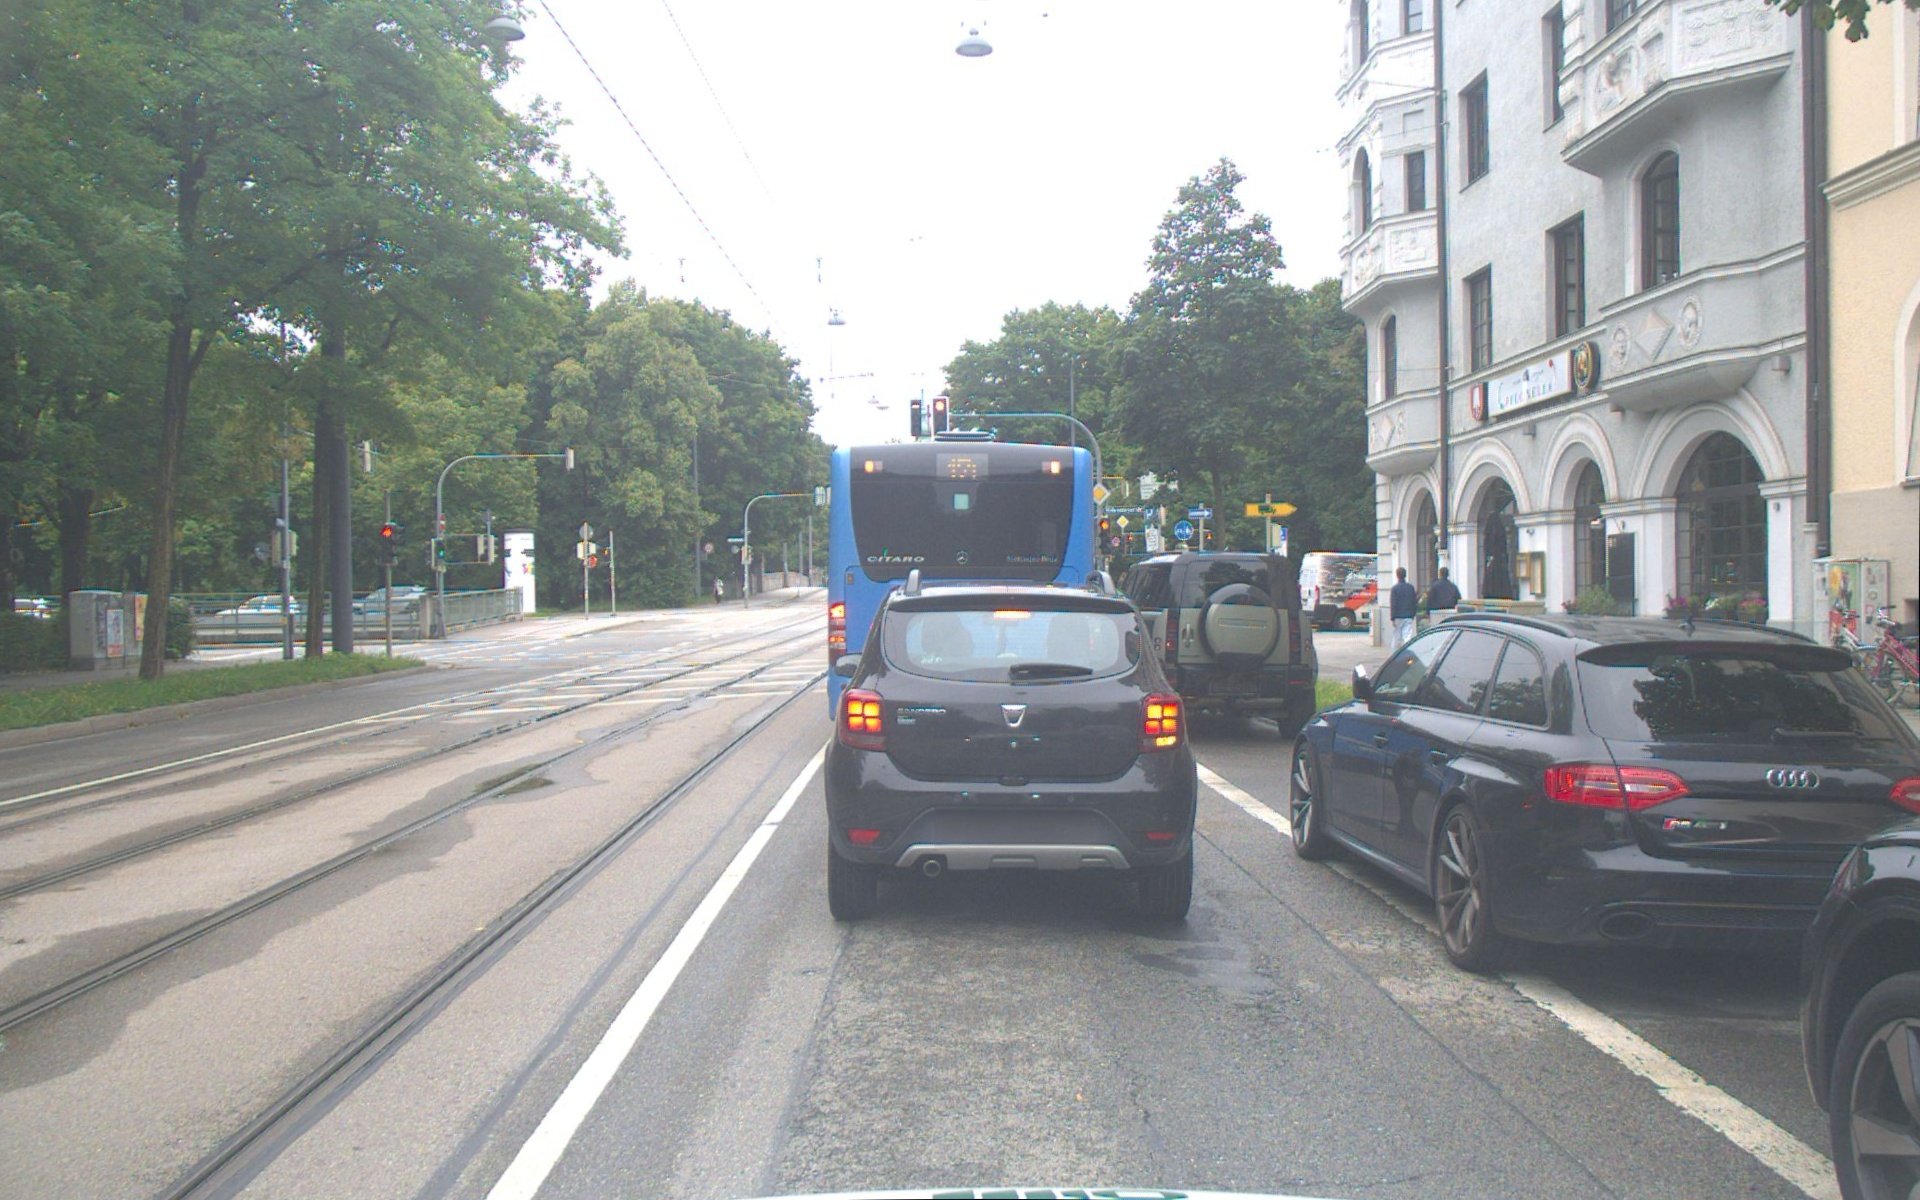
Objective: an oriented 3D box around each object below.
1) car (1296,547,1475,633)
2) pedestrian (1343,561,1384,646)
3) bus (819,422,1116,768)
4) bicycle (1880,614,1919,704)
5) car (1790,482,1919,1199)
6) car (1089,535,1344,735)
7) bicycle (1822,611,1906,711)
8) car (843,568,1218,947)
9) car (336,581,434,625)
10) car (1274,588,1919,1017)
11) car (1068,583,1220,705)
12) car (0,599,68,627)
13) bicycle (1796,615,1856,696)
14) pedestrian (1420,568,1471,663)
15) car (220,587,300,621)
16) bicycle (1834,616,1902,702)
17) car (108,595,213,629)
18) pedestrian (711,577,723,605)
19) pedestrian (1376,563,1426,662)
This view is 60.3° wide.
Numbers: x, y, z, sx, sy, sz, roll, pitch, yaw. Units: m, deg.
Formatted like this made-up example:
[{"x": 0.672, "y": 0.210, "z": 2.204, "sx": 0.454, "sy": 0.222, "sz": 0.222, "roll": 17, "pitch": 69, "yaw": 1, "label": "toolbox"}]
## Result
[{"x": 13.725, "y": -0.318, "z": 53.541, "sx": 5.191, "sy": 2.658, "sz": 2.229, "roll": 1, "pitch": 0, "yaw": -4, "label": "car"}, {"x": 9.929, "y": 0.087, "z": 40.688, "sx": 0.708, "sy": 2.049, "sz": 0.666, "roll": 1, "pitch": 0, "yaw": -35, "label": "pedestrian"}, {"x": -0.083, "y": -0.036, "z": 18.264, "sx": 2.625, "sy": 3.050, "sz": 6.957, "roll": 1, "pitch": 0, "yaw": -3, "label": "bus"}, {"x": 10.411, "y": 0.636, "z": 17.999, "sx": 0.299, "sy": 0.947, "sz": 0.886, "roll": 1, "pitch": 0, "yaw": 1, "label": "bicycle"}, {"x": 2.942, "y": 0.594, "z": 1.871, "sx": 1.738, "sy": 1.687, "sz": 4.487, "roll": 0, "pitch": 0, "yaw": 0, "label": "car"}, {"x": 2.700, "y": 0.347, "z": 18.604, "sx": 1.876, "sy": 1.939, "sz": 4.805, "roll": 1, "pitch": 0, "yaw": -3, "label": "car"}, {"x": 10.021, "y": 0.660, "z": 18.363, "sx": 0.237, "sy": 1.057, "sz": 1.223, "roll": 1, "pitch": 0, "yaw": -1, "label": "bicycle"}, {"x": 0.259, "y": 0.669, "z": 8.765, "sx": 1.568, "sy": 1.584, "sz": 3.524, "roll": 1, "pitch": 0, "yaw": -1, "label": "car"}, {"x": -25.988, "y": 0.135, "z": 74.829, "sx": 3.946, "sy": 1.920, "sz": 1.488, "roll": 1, "pitch": 0, "yaw": -8, "label": "car"}, {"x": 2.848, "y": 0.700, "z": 7.968, "sx": 1.681, "sy": 1.451, "sz": 4.601, "roll": 1, "pitch": 0, "yaw": -1, "label": "car"}, {"x": 2.616, "y": 0.594, "z": 24.396, "sx": 1.679, "sy": 1.619, "sz": 4.326, "roll": 1, "pitch": 0, "yaw": -1, "label": "car"}, {"x": -41.843, "y": 0.580, "z": 73.464, "sx": 3.656, "sy": 1.206, "sz": 1.249, "roll": 1, "pitch": 0, "yaw": -6, "label": "car"}, {"x": 10.411, "y": 0.656, "z": 19.897, "sx": 0.254, "sy": 0.947, "sz": 0.886, "roll": 1, "pitch": 0, "yaw": 0, "label": "bicycle"}, {"x": 9.191, "y": 0.283, "z": 31.345, "sx": 0.690, "sy": 1.762, "sz": 0.842, "roll": 1, "pitch": 0, "yaw": -1, "label": "pedestrian"}, {"x": -31.395, "y": 0.168, "z": 74.259, "sx": 3.050, "sy": 1.477, "sz": 1.249, "roll": 1, "pitch": 0, "yaw": -6, "label": "car"}, {"x": 10.403, "y": 0.669, "z": 18.959, "sx": 0.285, "sy": 0.947, "sz": 0.886, "roll": 1, "pitch": 0, "yaw": 0, "label": "bicycle"}, {"x": -35.710, "y": 0.537, "z": 73.961, "sx": 3.848, "sy": 1.429, "sz": 1.719, "roll": 1, "pitch": 0, "yaw": -5, "label": "car"}, {"x": -13.299, "y": -0.481, "z": 90.403, "sx": 0.520, "sy": 1.527, "sz": 0.588, "roll": 1, "pitch": 0, "yaw": 4, "label": "pedestrian"}, {"x": 8.379, "y": 0.236, "z": 31.451, "sx": 0.690, "sy": 1.848, "sz": 0.869, "roll": 1, "pitch": 0, "yaw": -1, "label": "pedestrian"}]
